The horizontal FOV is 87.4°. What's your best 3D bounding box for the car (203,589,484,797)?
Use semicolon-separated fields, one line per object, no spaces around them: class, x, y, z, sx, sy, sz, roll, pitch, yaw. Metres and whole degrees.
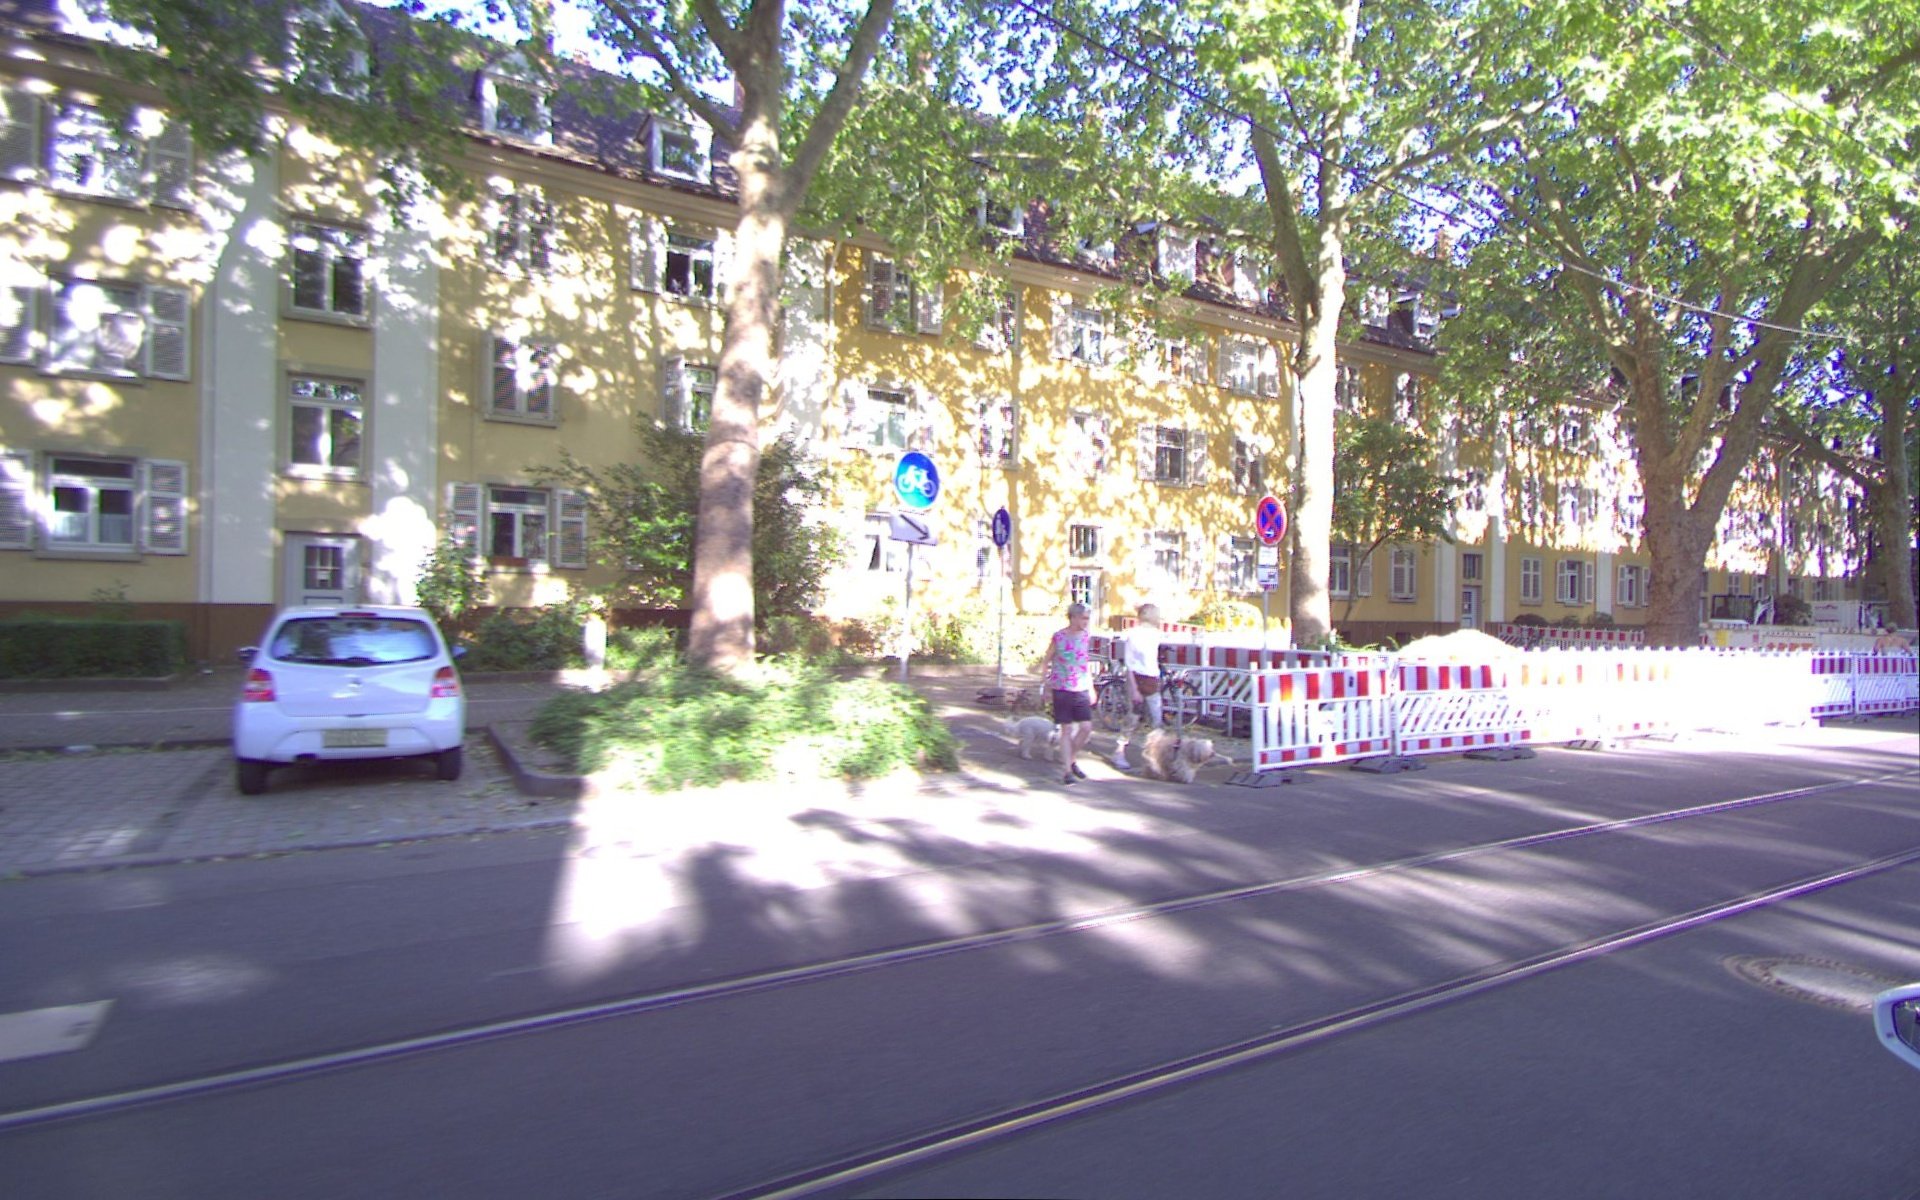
car;-5.656;0.713;9.462;1.840;1.517;3.830;1;-1;-30

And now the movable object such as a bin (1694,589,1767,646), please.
movable object such as a bin;26.998;0.616;35.197;1.984;1.893;1.327;2;0;-31

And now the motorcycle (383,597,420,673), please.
motorcycle;-9.798;0.590;17.644;0.516;1.257;1.703;1;0;-28

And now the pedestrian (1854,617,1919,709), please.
pedestrian;17.640;1.186;19.105;0.769;1.691;0.713;2;0;-30

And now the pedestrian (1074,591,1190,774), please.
pedestrian;1.758;0.807;10.311;0.787;1.768;0.818;2;0;-30

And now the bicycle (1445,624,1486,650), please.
bicycle;16.800;1.232;33.353;1.627;0.829;0.503;1;0;-35

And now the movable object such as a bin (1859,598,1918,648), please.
movable object such as a bin;32.529;0.799;35.179;1.541;1.667;1.092;2;0;-31

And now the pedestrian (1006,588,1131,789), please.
pedestrian;1.005;0.783;9.374;0.787;1.768;0.818;2;0;-30

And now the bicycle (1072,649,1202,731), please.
bicycle;2.417;1.210;13.972;0.717;0.975;1.963;1;0;-29
